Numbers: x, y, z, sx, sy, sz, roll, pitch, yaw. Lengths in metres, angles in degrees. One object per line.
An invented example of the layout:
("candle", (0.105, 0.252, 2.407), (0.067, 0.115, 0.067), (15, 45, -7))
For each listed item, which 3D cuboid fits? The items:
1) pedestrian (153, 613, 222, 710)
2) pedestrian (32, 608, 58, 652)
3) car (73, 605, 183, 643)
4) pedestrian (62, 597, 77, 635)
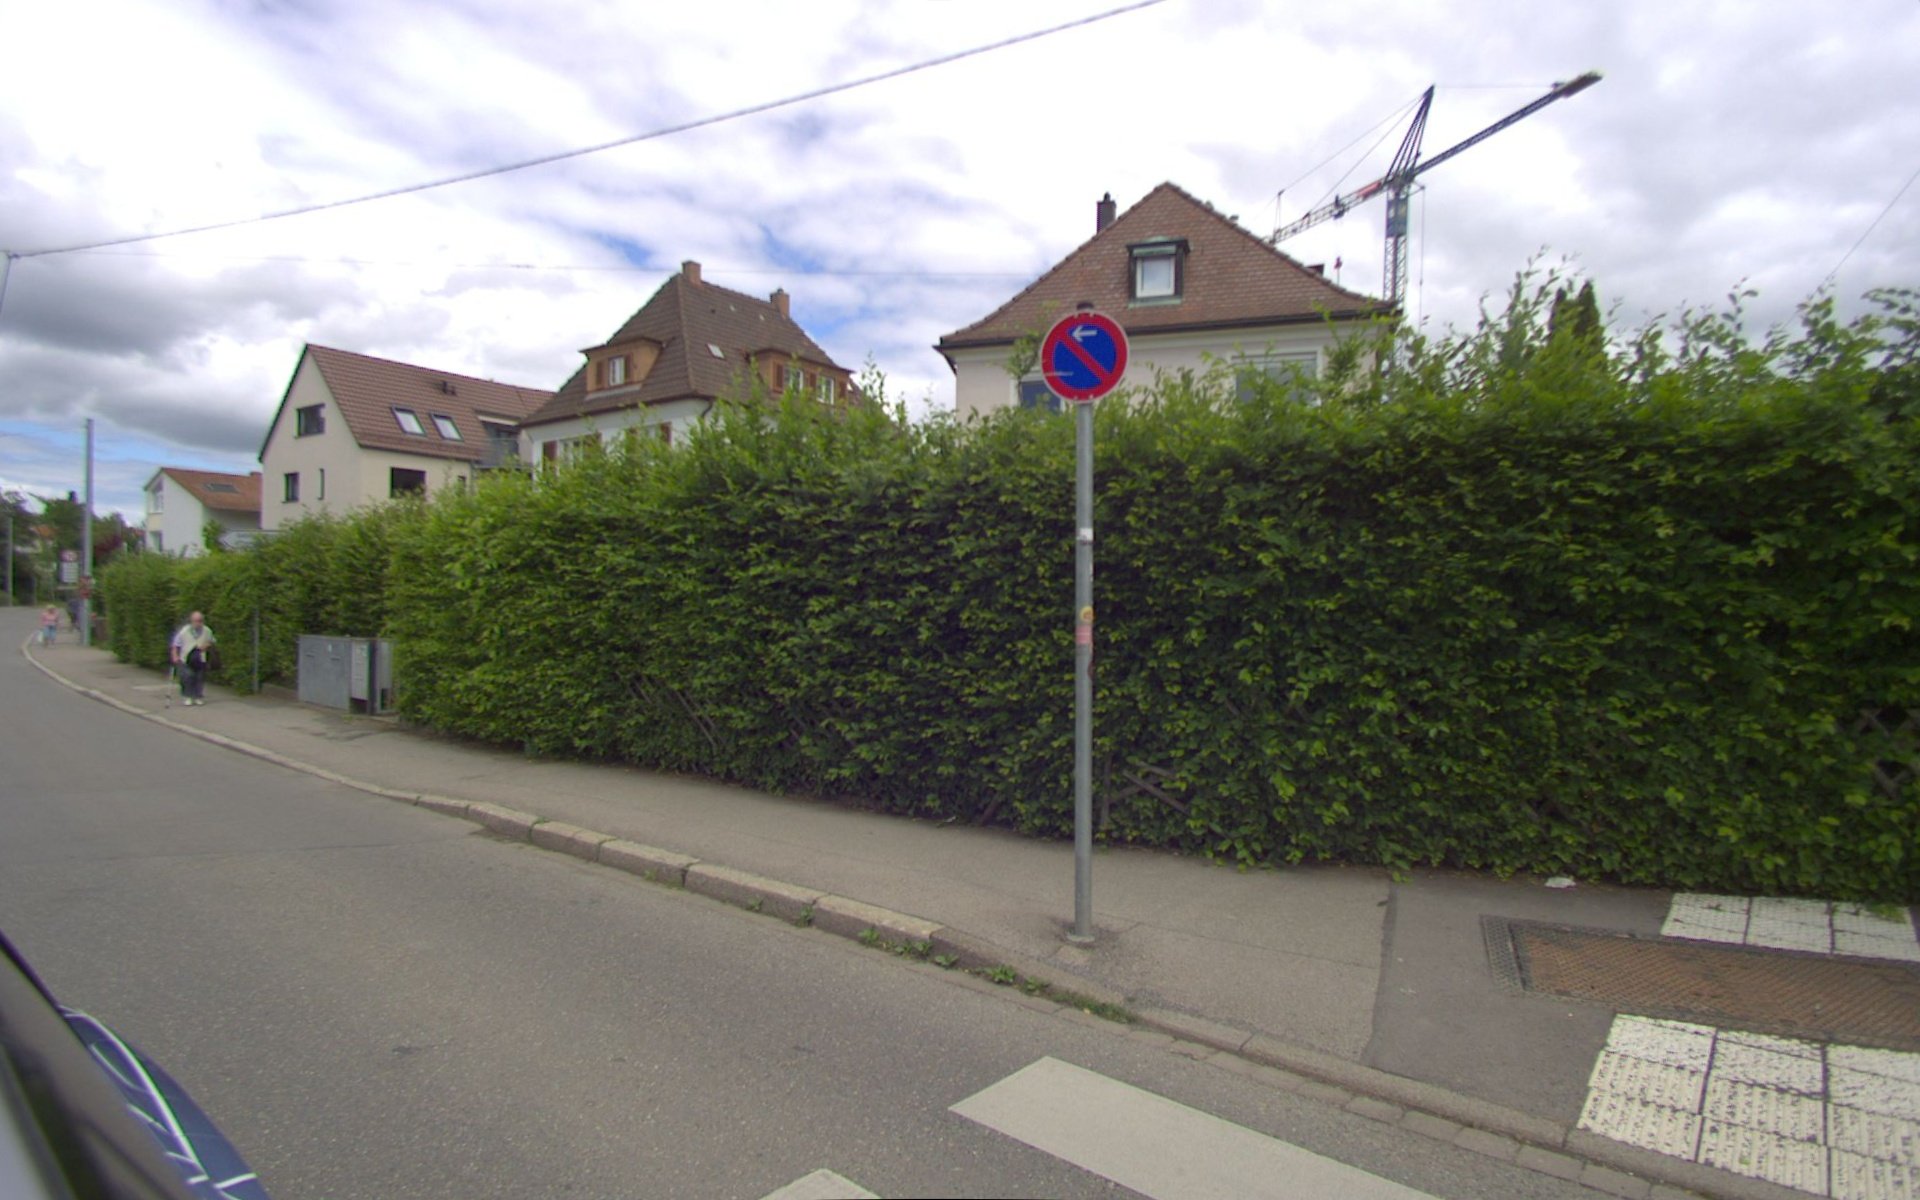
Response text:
("pedestrian", (-12.772, 0.990, 16.746), (0.542, 1.542, 0.742), (-1, 0, 29))
("pedestrian", (-34.197, 1.110, 37.820), (0.608, 1.611, 0.611), (0, -1, 41))
("car", (-40.238, 1.136, 48.994), (1.885, 1.741, 3.942), (0, -1, 44))
("pedestrian", (-45.859, 0.812, 52.105), (0.528, 1.967, 0.528), (1, -1, -39))
